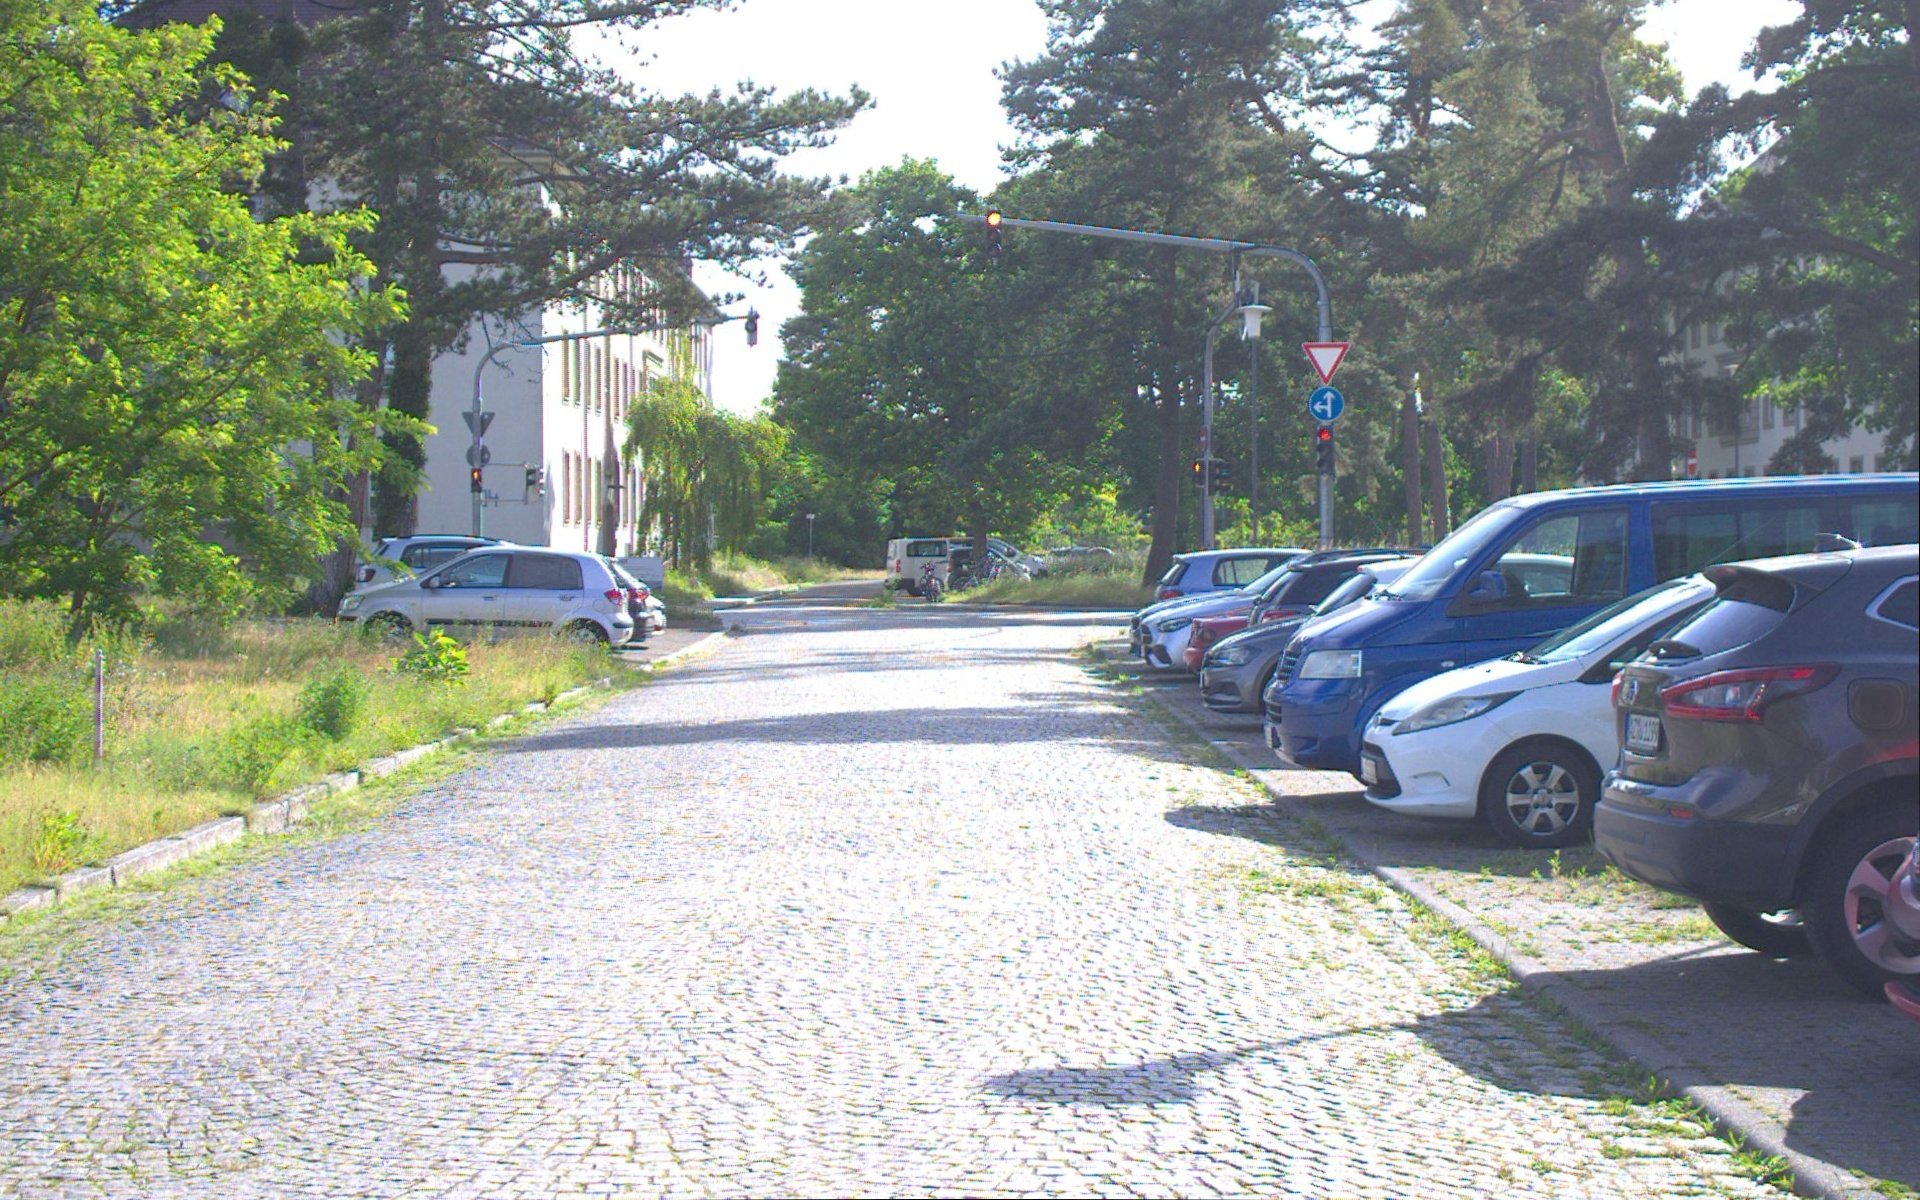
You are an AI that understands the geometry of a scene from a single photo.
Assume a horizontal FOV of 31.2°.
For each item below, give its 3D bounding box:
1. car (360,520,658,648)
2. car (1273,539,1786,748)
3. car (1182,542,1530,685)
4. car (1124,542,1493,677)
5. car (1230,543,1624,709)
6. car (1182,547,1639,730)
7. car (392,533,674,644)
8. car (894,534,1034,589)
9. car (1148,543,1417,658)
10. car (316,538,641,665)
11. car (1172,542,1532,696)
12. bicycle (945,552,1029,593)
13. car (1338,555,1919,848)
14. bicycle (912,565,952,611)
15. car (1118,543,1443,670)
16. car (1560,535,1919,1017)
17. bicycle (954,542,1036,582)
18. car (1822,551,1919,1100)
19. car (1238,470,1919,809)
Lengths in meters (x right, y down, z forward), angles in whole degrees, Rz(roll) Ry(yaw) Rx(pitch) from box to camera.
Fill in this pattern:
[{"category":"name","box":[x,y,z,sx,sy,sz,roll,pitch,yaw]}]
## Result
[{"category":"car","box":[-6.497,-0.244,49.841,3.987,1.596,2.000,3,1,-1]},{"category":"car","box":[4.370,0.314,26.754,3.694,1.461,1.645,-2,1,1]},{"category":"car","box":[4.302,0.129,37.713,3.602,1.524,1.645,0,1,-1]},{"category":"car","box":[4.000,0.091,39.792,4.033,1.524,1.646,0,1,-4]},{"category":"car","box":[4.379,0.225,32.560,3.478,1.524,1.645,0,1,-1]},{"category":"car","box":[3.832,0.309,29.643,3.675,1.462,1.645,-1,1,-1]},{"category":"car","box":[-6.444,-0.186,52.243,3.987,1.448,2.000,3,1,-1]},{"category":"car","box":[0.106,-1.249,111.673,4.480,1.722,2.000,1,1,-1]},{"category":"car","box":[4.212,-0.008,45.203,3.343,1.477,1.645,0,1,-1]},{"category":"car","box":[-6.176,-0.003,44.453,3.986,1.595,2.000,0,1,-3]},{"category":"car","box":[3.977,0.174,35.253,3.478,1.524,1.645,0,1,-1]},{"category":"bicycle","box":[0.736,-0.751,94.203,2.172,1.096,0.807,0,1,-10]},{"category":"car","box":[4.063,0.517,18.900,3.718,1.483,1.646,-1,1,-2]},{"category":"bicycle","box":[-0.742,-0.325,90.752,0.804,1.165,2.181,-2,1,-6]},{"category":"car","box":[3.928,0.064,42.564,3.835,1.524,1.645,0,1,-1]},{"category":"car","box":[4.316,0.572,12.480,3.935,1.616,1.772,0,1,-1]},{"category":"bicycle","box":[0.974,-1.059,95.502,2.172,1.096,0.807,0,1,-10]},{"category":"car","box":[4.554,0.624,9.813,3.762,1.525,1.645,0,1,0]},{"category":"car","box":[4.211,0.209,21.574,4.676,2.007,2.084,0,1,-3]}]
